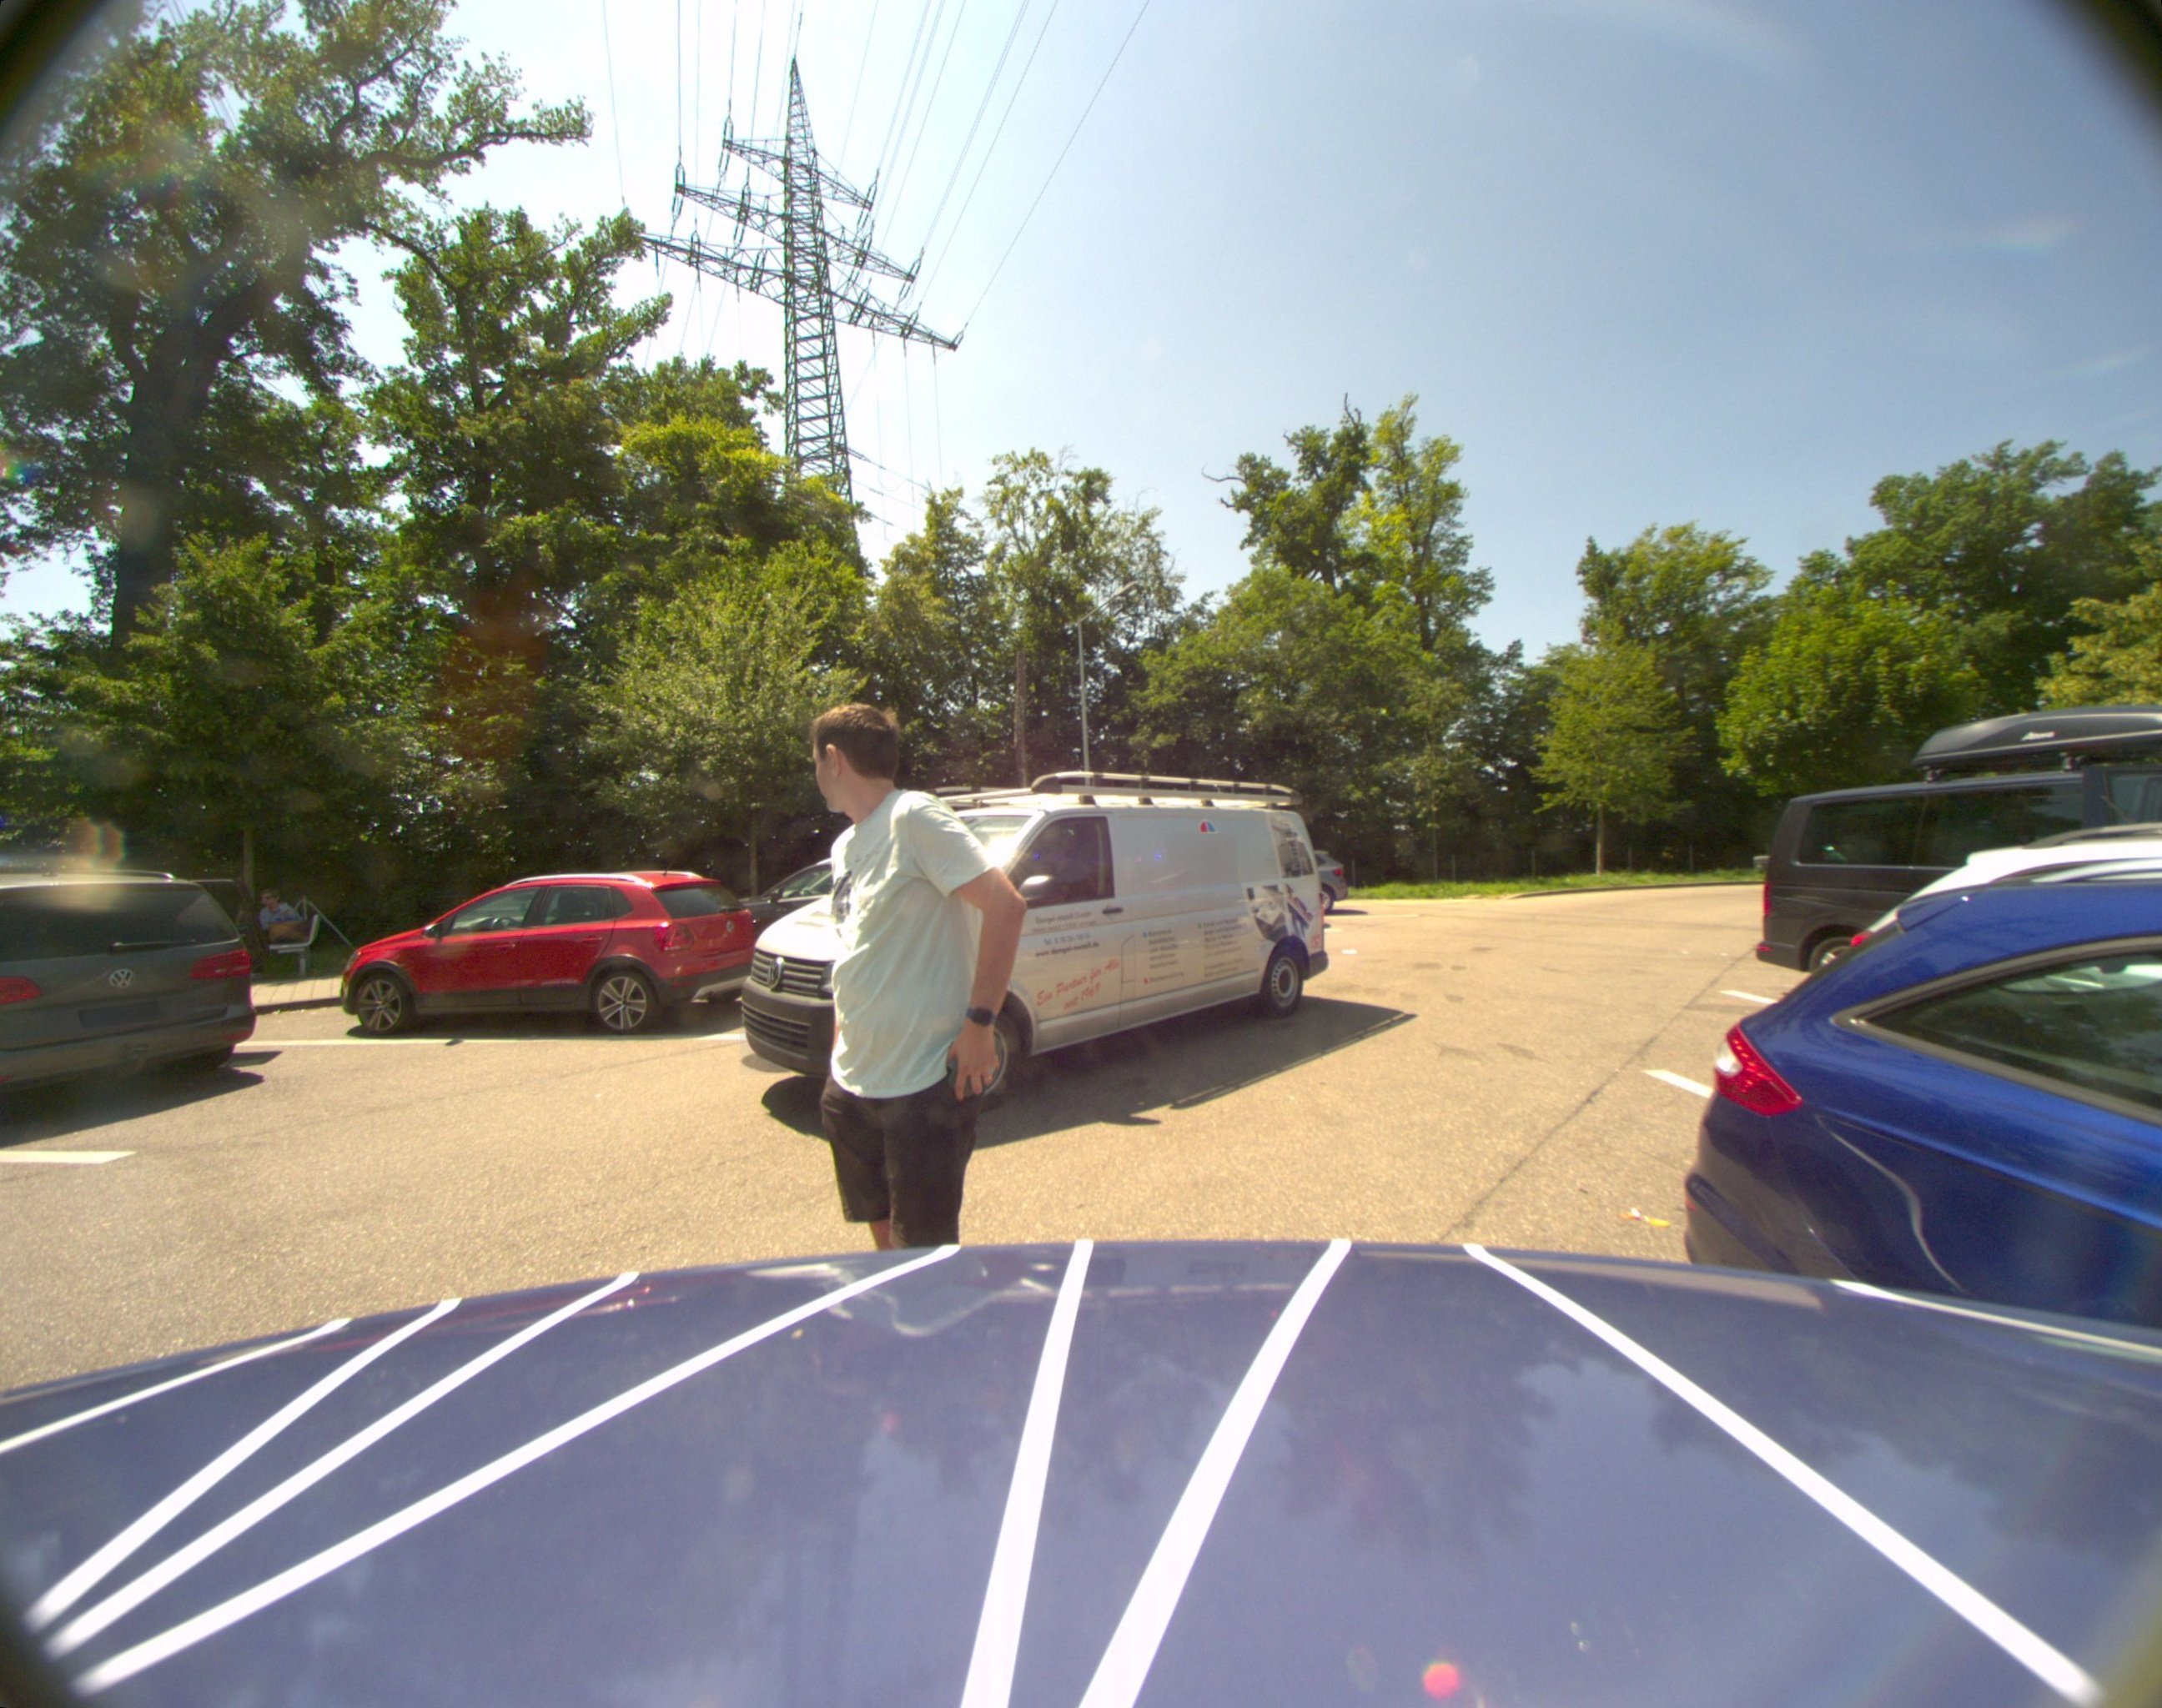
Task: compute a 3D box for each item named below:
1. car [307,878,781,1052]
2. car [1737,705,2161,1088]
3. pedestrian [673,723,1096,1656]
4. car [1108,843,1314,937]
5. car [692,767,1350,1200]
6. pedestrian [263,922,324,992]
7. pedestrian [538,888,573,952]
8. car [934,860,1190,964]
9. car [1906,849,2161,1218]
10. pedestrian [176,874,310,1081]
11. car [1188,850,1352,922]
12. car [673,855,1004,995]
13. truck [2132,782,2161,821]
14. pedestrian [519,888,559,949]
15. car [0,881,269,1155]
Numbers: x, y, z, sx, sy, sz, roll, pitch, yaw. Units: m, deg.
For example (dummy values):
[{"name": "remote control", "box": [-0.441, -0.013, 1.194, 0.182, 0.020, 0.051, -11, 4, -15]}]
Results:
[{"name": "car", "box": [-5.242, 1.056, 7.679, 3.745, 1.458, 1.621, -2, 0, 7]}, {"name": "car", "box": [7.317, 0.239, 5.230, 1.788, 2.304, 4.084, -2, 0, -5]}, {"name": "pedestrian", "box": [-0.436, 0.666, 1.884, 0.738, 1.818, 0.615, -2, 0, 18]}, {"name": "car", "box": [2.538, 0.691, 15.408, 3.850, 1.678, 1.755, -2, 0, 4]}, {"name": "car", "box": [0.065, 0.592, 6.234, 5.445, 2.092, 1.839, -2, 1, -45]}, {"name": "pedestrian", "box": [-10.822, 1.406, 10.456, 0.503, 0.873, 0.512, -2, -1, -39]}, {"name": "pedestrian", "box": [-10.087, 1.269, 14.588, 0.366, 1.186, 0.356, -2, 1, 21]}, {"name": "car", "box": [-0.234, 0.878, 12.232, 3.773, 1.445, 1.848, -2, 0, 4]}, {"name": "car", "box": [4.687, 0.661, 2.135, 1.344, 1.352, 3.114, -2, 0, 1]}, {"name": "pedestrian", "box": [-7.384, 1.049, 6.710, 0.481, 1.712, 0.589, -2, 1, 22]}, {"name": "car", "box": [4.390, 0.735, 18.104, 3.585, 1.493, 1.707, -2, 1, 8]}, {"name": "car", "box": [-3.101, 0.893, 10.289, 3.866, 1.607, 1.709, -2, 0, 0]}, {"name": "truck", "box": [40.236, -1.966, 27.152, 1.168, 1.367, 2.882, -2, -1, -19]}, {"name": "pedestrian", "box": [-10.959, 1.295, 15.382, 0.413, 1.186, 0.443, -2, 1, 12]}, {"name": "car", "box": [-8.431, 1.094, 5.430, 3.903, 1.607, 1.705, -2, 1, 11]}]
